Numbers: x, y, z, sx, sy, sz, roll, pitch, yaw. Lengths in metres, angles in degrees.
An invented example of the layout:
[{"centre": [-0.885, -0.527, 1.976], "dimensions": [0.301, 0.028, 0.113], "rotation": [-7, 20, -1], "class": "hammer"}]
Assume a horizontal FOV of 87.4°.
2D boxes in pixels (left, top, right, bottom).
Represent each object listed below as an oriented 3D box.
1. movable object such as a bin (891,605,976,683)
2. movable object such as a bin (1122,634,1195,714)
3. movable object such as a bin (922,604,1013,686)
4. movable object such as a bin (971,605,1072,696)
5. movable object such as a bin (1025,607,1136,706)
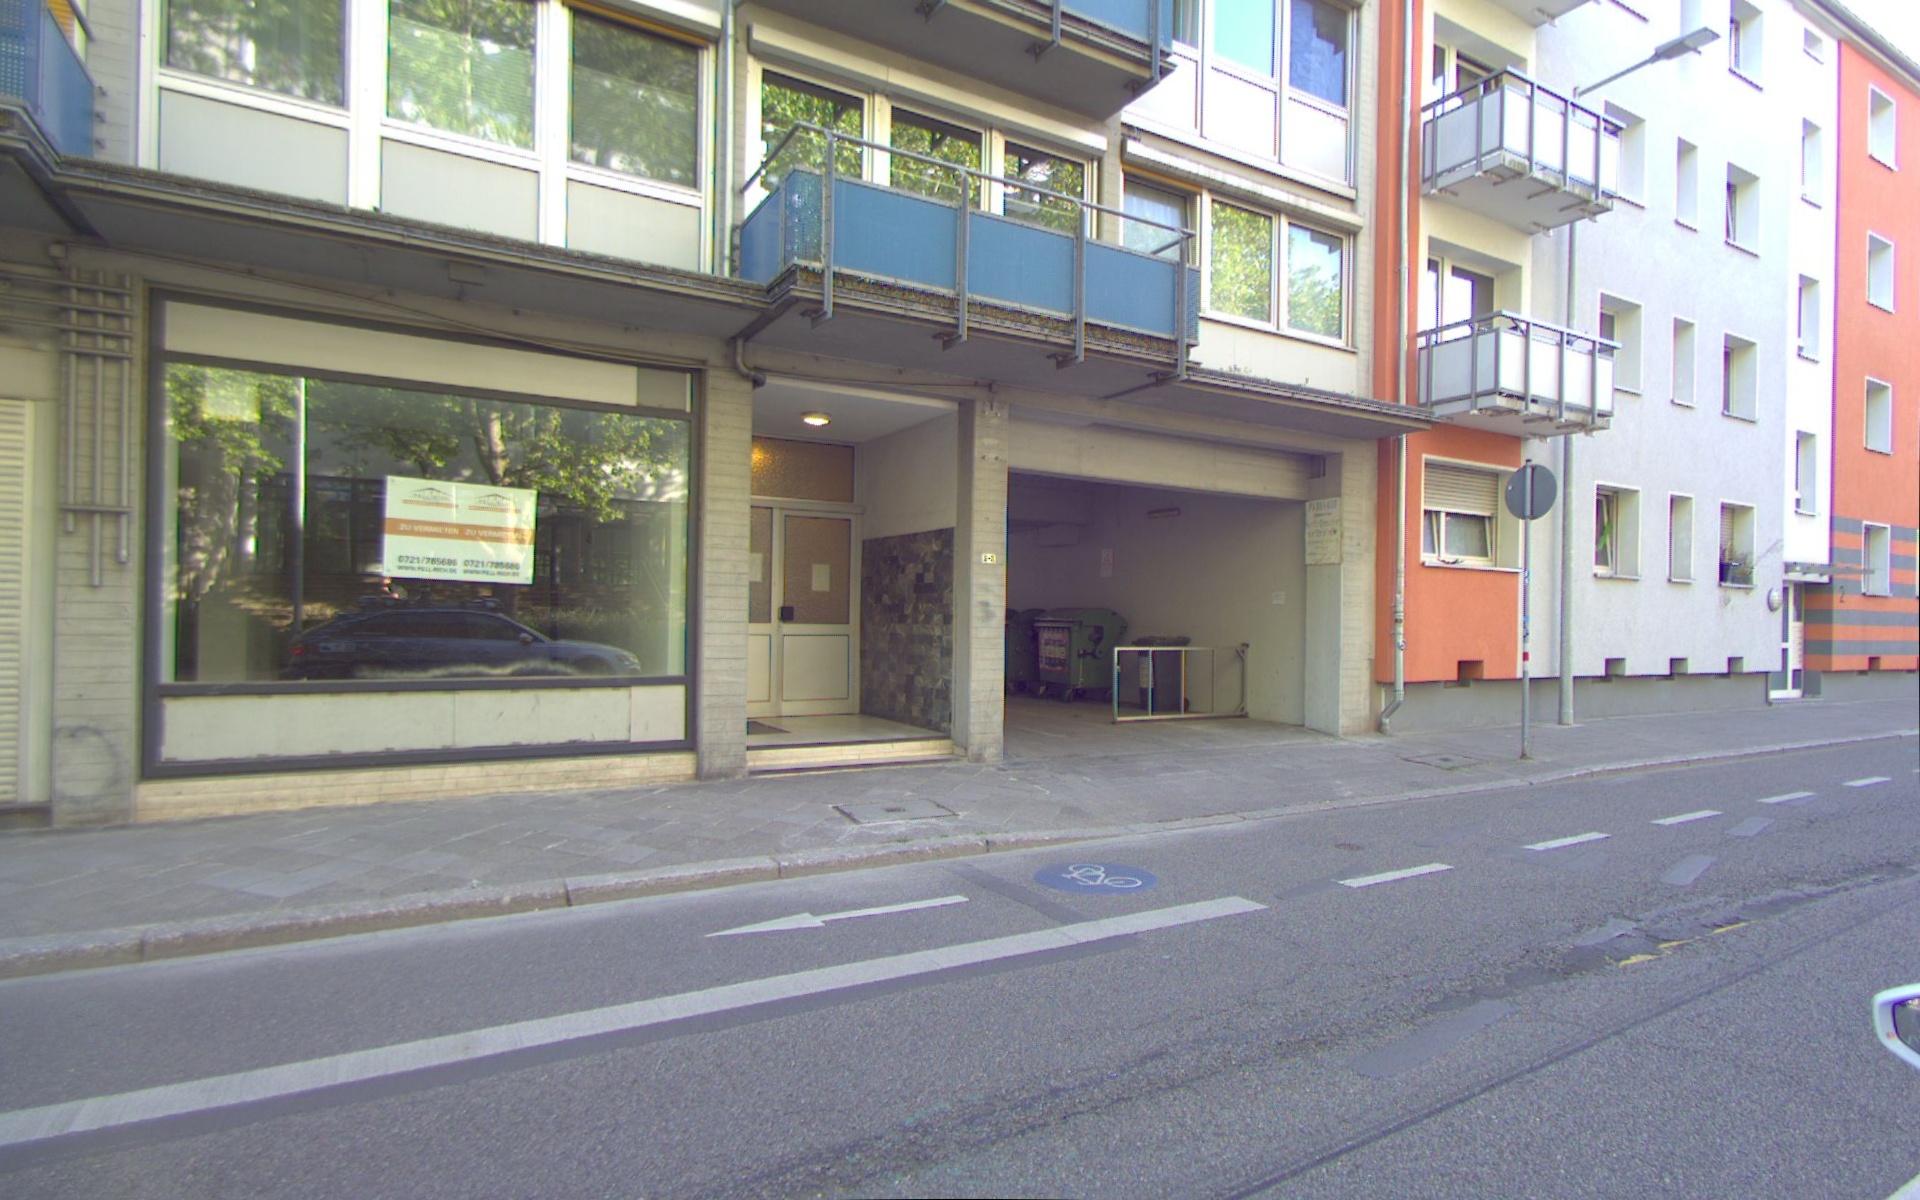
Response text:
[{"centre": [-0.538, 0.852, 19.934], "dimensions": [1.182, 1.452, 1.300], "rotation": [2, 0, -30], "class": "movable object such as a bin"}, {"centre": [2.860, 1.054, 14.526], "dimensions": [0.707, 1.089, 0.735], "rotation": [2, 0, -30], "class": "movable object such as a bin"}, {"centre": [0.130, 0.821, 18.770], "dimensions": [1.182, 1.452, 1.300], "rotation": [2, 0, -30], "class": "movable object such as a bin"}, {"centre": [1.042, 0.842, 17.196], "dimensions": [1.182, 1.452, 1.300], "rotation": [2, 0, -30], "class": "movable object such as a bin"}, {"centre": [1.883, 0.861, 15.809], "dimensions": [1.182, 1.452, 1.300], "rotation": [2, 0, -30], "class": "movable object such as a bin"}]
